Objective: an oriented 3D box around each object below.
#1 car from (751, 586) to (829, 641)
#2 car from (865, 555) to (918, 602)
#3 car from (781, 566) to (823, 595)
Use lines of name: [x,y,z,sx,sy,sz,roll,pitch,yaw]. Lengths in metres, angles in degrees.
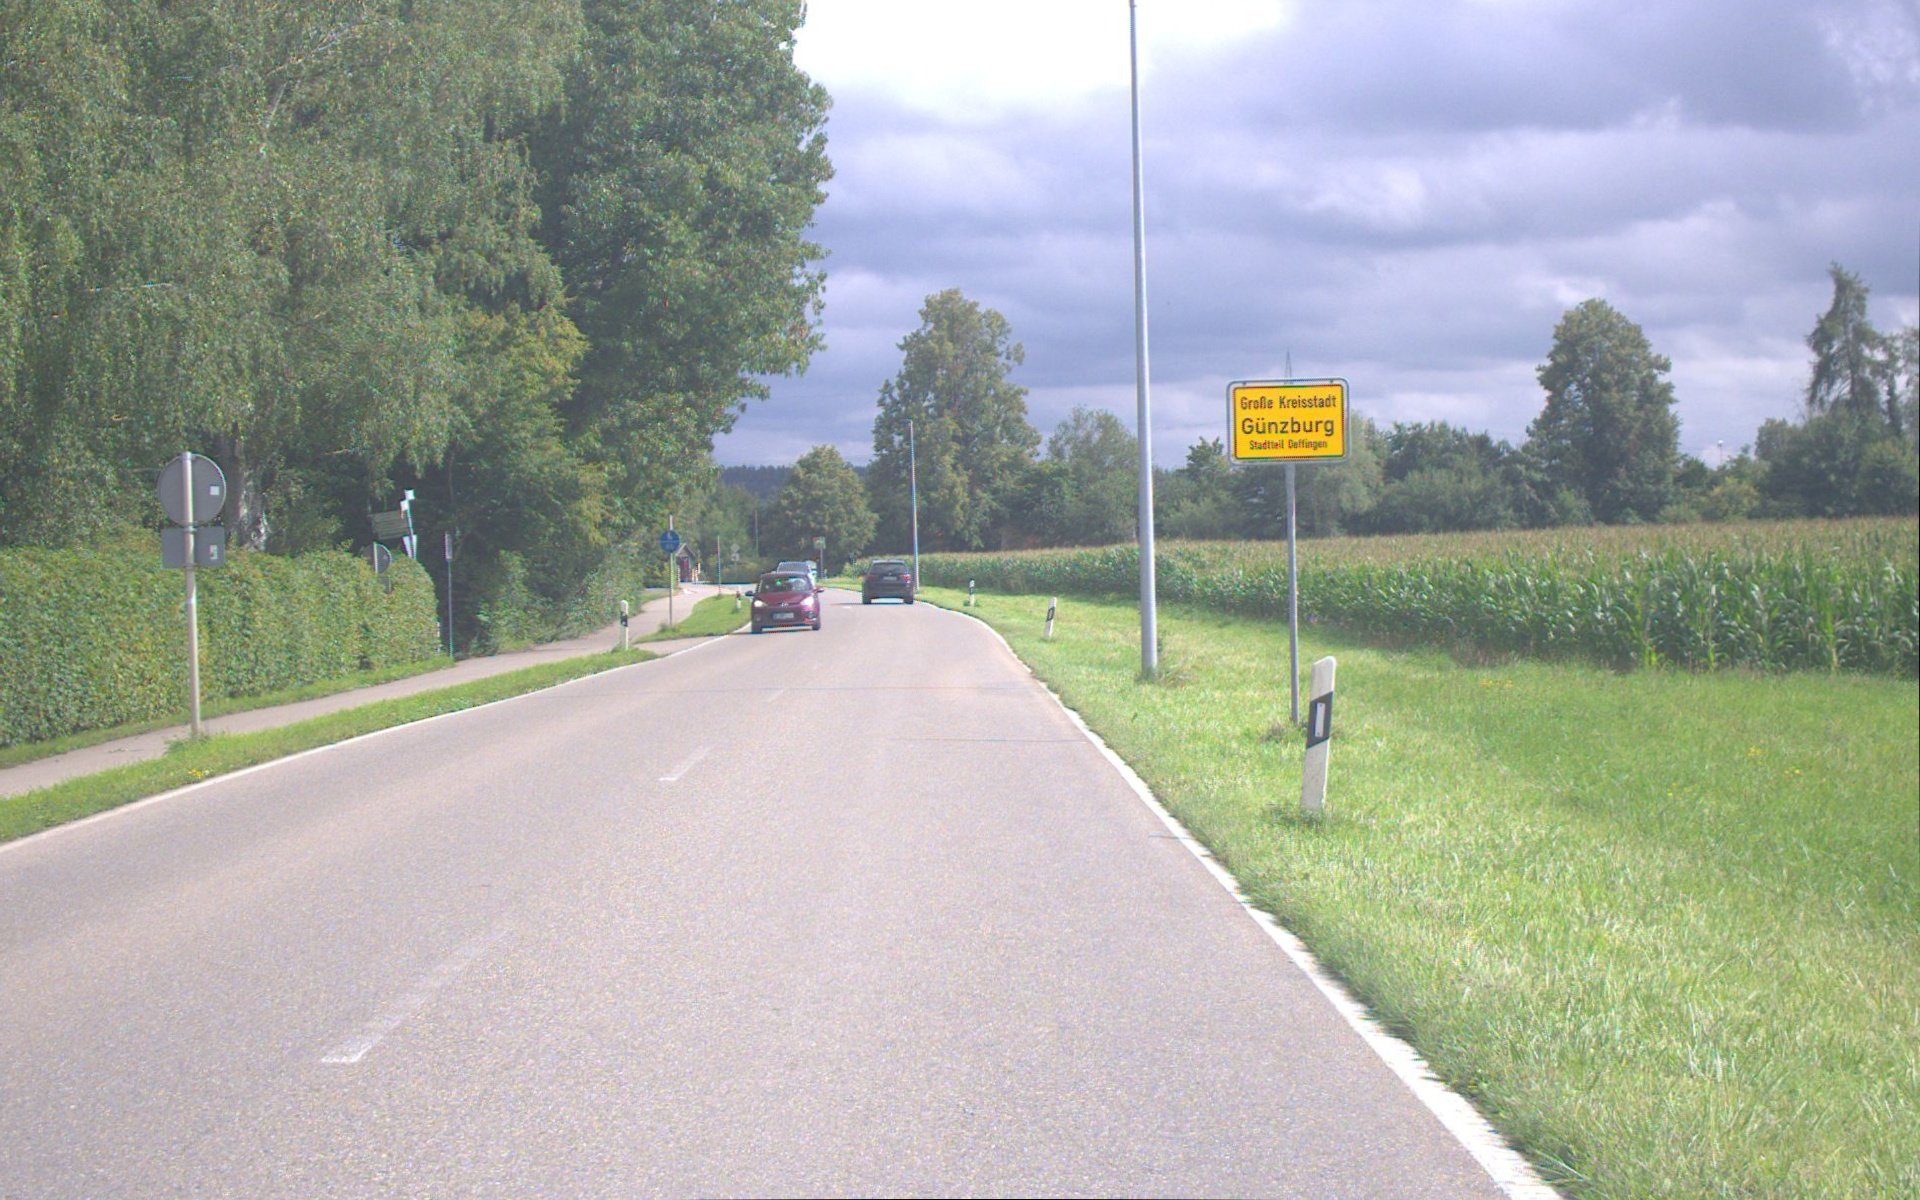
car: [-4.174,0.318,84.794,1.745,1.218,3.543,-2,1,0]
car: [-2.585,-0.835,130.595,1.906,1.660,4.000,-2,1,-1]
car: [-7.142,-0.874,155.714,1.745,1.218,3.543,-2,1,0]
